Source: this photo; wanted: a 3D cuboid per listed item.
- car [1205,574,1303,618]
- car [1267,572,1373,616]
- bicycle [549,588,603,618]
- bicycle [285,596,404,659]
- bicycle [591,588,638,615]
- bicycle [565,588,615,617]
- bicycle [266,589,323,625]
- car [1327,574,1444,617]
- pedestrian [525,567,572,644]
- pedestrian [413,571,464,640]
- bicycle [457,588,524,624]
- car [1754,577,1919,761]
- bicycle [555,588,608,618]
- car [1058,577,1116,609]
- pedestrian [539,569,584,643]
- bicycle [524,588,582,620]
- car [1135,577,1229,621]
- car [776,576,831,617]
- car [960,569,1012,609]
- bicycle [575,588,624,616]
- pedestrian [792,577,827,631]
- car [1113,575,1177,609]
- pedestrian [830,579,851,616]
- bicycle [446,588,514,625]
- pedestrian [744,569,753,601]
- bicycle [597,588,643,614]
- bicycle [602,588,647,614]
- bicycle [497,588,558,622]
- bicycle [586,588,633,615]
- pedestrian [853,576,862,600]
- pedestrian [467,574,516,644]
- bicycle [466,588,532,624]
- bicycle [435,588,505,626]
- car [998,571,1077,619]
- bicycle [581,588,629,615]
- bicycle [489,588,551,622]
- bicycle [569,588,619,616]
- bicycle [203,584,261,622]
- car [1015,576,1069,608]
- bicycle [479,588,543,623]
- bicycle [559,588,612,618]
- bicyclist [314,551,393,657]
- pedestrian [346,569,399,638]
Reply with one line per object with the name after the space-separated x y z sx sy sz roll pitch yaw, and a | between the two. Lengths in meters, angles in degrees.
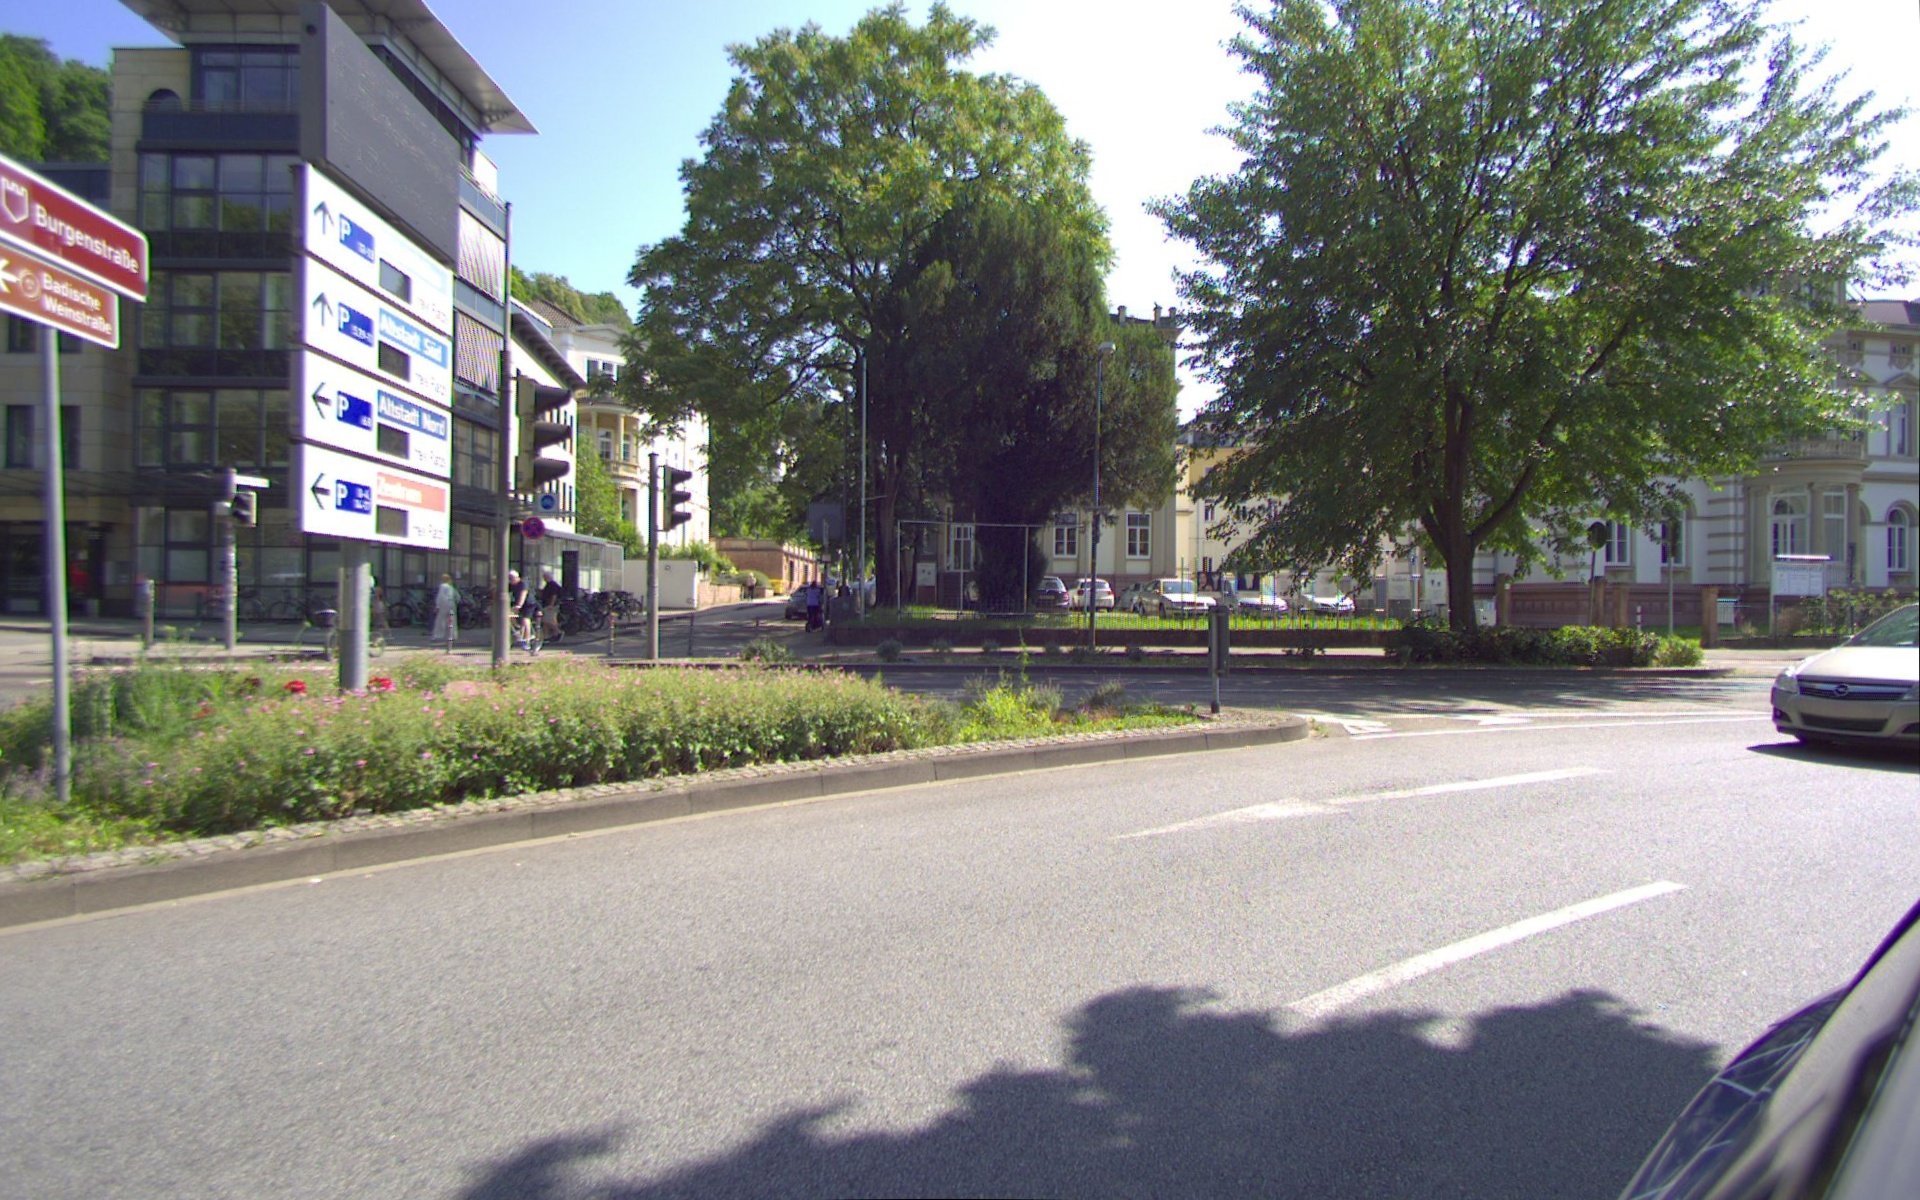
9.602 -0.126 33.431 1.785 1.353 4.102 0 0 -4 | car
11.813 -0.206 33.493 1.824 1.353 4.057 0 0 -4 | car
-14.140 0.117 37.310 1.800 1.099 0.539 0 0 0 | bicycle
-11.600 0.492 19.165 0.745 1.127 2.077 0 0 10 | bicycle
-14.577 0.063 42.729 1.800 1.099 0.539 0 0 0 | bicycle
-14.517 0.093 39.723 1.800 1.099 0.539 0 0 0 | bicycle
-18.388 0.189 27.978 1.315 0.953 0.406 1 0 -1 | bicycle
14.070 -0.147 33.727 1.952 1.353 4.057 0 0 -4 | car
-10.230 0.136 25.177 0.814 1.878 0.772 0 -1 4 | pedestrian
-12.848 0.133 24.952 0.815 1.684 0.771 0 -1 9 | pedestrian
-14.404 0.182 31.061 1.800 1.099 0.539 0 0 0 | bicycle
9.929 0.537 9.444 4.396 1.519 1.724 -1 1 -16 | car
-14.181 0.111 37.906 1.800 1.099 0.539 0 0 0 | bicycle
5.539 -0.304 44.624 1.785 1.353 4.093 0 0 -4 | car
-10.201 0.148 25.932 0.814 1.878 0.772 0 -1 4 | pedestrian
-14.231 0.137 35.380 1.800 1.099 0.539 0 0 0 | bicycle
7.190 -0.048 33.212 1.785 1.353 4.484 0 0 -4 | car
-6.580 -0.167 42.957 1.798 1.667 4.135 1 1 -1 | car
1.062 -0.457 43.576 1.785 1.623 4.325 0 0 -4 | car
-14.582 0.081 40.946 1.800 1.099 0.539 0 0 0 | bicycle
-4.573 0.110 30.795 0.730 1.600 1.119 0 0 11 | pedestrian
8.060 -0.354 44.476 1.785 1.437 4.066 0 0 -4 | car
-4.989 -0.108 42.275 0.756 1.565 0.667 0 0 0 | pedestrian
-14.410 0.188 30.415 1.800 1.099 0.539 0 0 0 | bicycle
-13.341 -0.937 63.726 0.483 2.039 0.580 1 0 -7 | pedestrian
-14.542 0.057 43.333 1.800 1.099 0.539 0 0 0 | bicycle
-14.569 0.050 43.965 1.800 1.099 0.539 0 0 0 | bicycle
-14.344 0.156 33.562 1.800 1.099 0.539 0 0 0 | bicycle
-14.587 0.069 42.157 1.800 1.099 0.539 0 0 0 | bicycle
-8.673 -1.008 85.822 0.708 2.039 0.862 1 0 -3 | pedestrian
-11.385 0.220 24.608 0.814 1.684 0.773 0 -1 3 | pedestrian
-14.412 0.176 31.659 1.800 1.099 0.539 0 0 0 | bicycle
-14.453 0.194 29.854 1.800 1.099 0.539 0 0 0 | bicycle
2.503 -0.168 33.498 1.840 1.494 4.161 0 0 -6 | car
-14.581 0.075 41.570 1.800 1.099 0.539 0 0 0 | bicycle
-14.321 0.162 32.961 1.800 1.099 0.539 0 0 0 | bicycle
-14.587 0.088 40.325 1.800 1.099 0.539 0 0 0 | bicycle
-20.162 0.071 28.047 1.315 1.025 0.406 1 0 -1 | bicycle
3.541 -0.353 44.374 1.785 1.353 4.057 0 0 -4 | car
-14.307 0.169 32.280 1.800 1.099 0.539 0 0 0 | bicycle
-14.236 0.105 38.510 1.800 1.099 0.539 0 0 0 | bicycle
-11.567 0.071 19.335 0.736 1.957 1.126 0 -1 11 | bicyclist
-14.490 0.085 24.969 0.815 1.684 0.771 0 -1 9 | pedestrian
